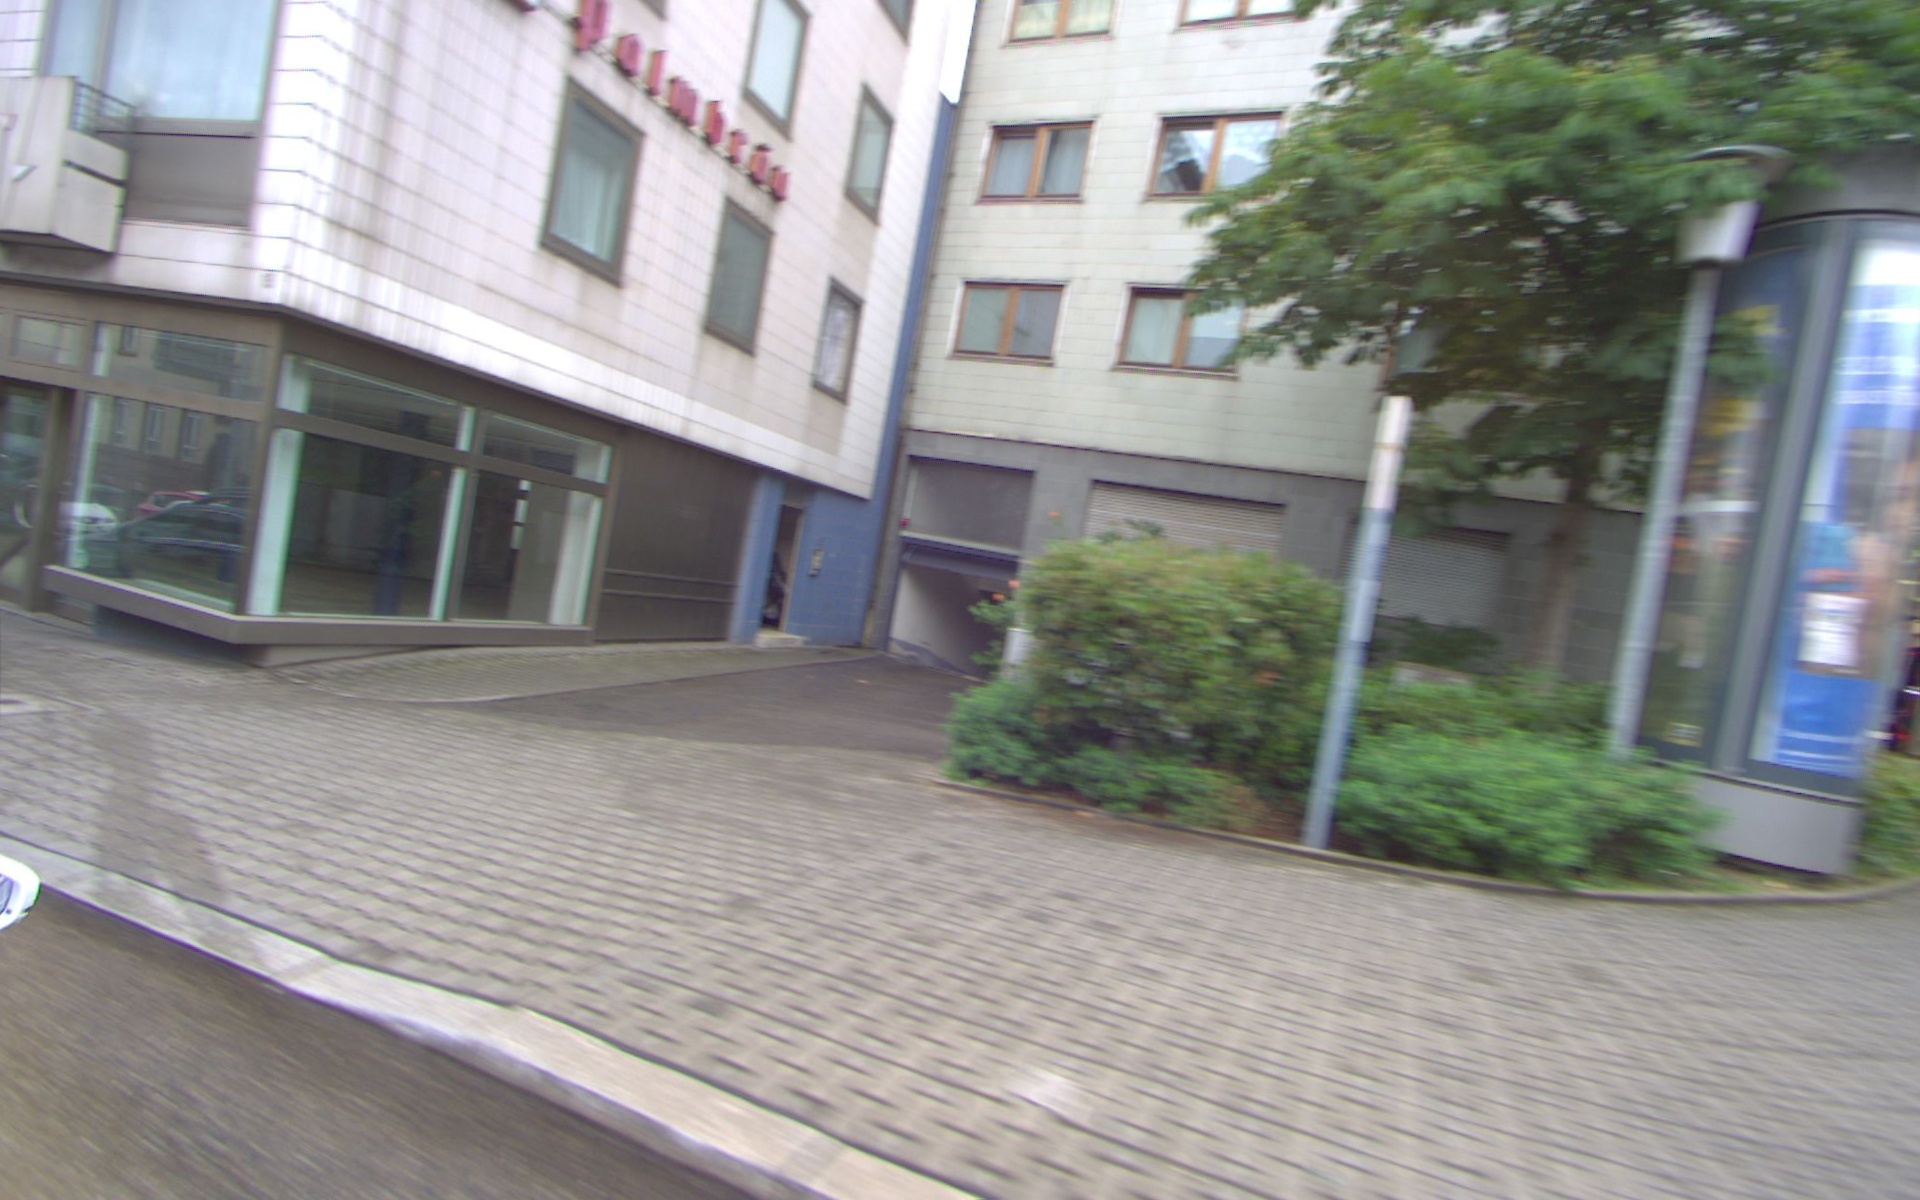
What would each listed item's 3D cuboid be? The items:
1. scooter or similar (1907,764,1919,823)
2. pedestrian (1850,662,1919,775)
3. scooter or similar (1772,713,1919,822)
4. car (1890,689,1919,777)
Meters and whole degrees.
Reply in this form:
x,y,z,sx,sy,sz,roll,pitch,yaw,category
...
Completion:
x,y,z,sx,sy,sz,roll,pitch,yaw,category
10.243,1.940,9.930,0.451,0.852,1.323,12,1,5,scooter or similar
12.673,1.595,13.654,0.511,1.416,0.578,12,2,24,pedestrian
9.716,1.803,10.714,0.544,0.852,1.455,11,1,-25,scooter or similar
25.299,3.497,24.862,2.036,2.268,4.615,10,0,29,car
